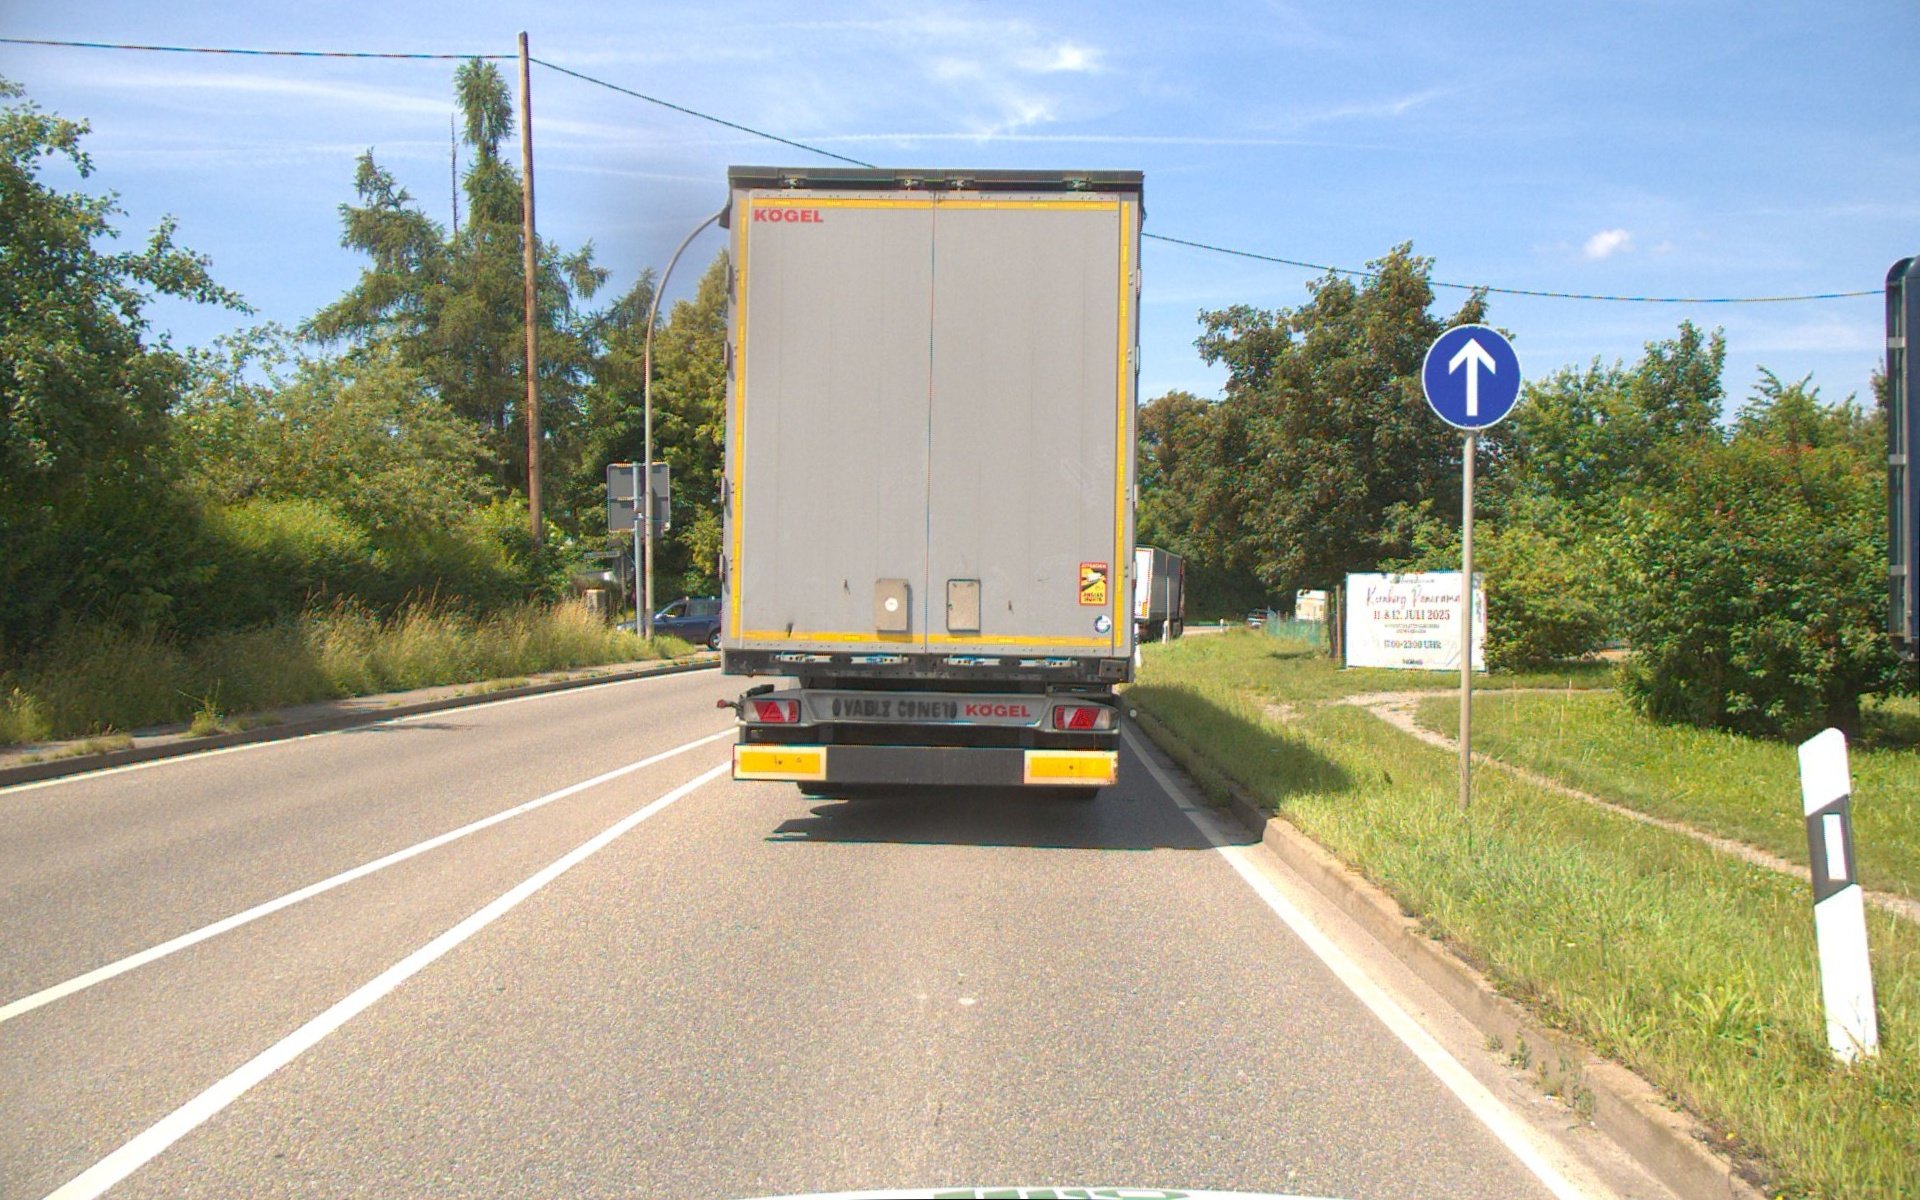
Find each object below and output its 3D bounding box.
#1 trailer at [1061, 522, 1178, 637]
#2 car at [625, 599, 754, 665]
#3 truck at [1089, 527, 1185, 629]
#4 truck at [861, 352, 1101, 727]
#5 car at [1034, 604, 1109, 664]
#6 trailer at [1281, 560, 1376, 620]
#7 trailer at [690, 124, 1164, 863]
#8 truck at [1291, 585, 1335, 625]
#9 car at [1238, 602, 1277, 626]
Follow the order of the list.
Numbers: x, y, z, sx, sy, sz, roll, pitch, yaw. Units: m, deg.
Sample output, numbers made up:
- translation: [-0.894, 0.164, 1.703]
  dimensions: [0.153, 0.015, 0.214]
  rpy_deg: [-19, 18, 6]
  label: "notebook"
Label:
- translation: [7.215, -0.812, 72.627]
  dimensions: [3.808, 4.600, 12.724]
  rpy_deg: [0, 0, 12]
  label: "trailer"
- translation: [-8.830, 1.013, 53.848]
  dimensions: [4.001, 2.049, 1.992]
  rpy_deg: [0, 0, -15]
  label: "car"
- translation: [8.579, -0.993, 79.366]
  dimensions: [3.853, 4.655, 7.158]
  rpy_deg: [0, 0, 12]
  label: "truck"
- translation: [0.388, -0.728, 21.867]
  dimensions: [2.688, 4.238, 6.145]
  rpy_deg: [1, 1, 3]
  label: "truck"
- translation: [3.211, 0.932, 46.981]
  dimensions: [1.951, 1.556, 4.003]
  rpy_deg: [0, 1, 6]
  label: "car"
- translation: [31.025, -0.833, 138.297]
  dimensions: [5.074, 4.709, 15.892]
  rpy_deg: [1, 1, 22]
  label: "trailer"
- translation: [0.090, -0.698, 15.690]
  dimensions: [2.728, 4.278, 12.116]
  rpy_deg: [1, 1, 3]
  label: "trailer"
- translation: [26.006, 0.353, 121.826]
  dimensions: [2.371, 2.888, 5.412]
  rpy_deg: [0, 1, 21]
  label: "truck"
- translation: [19.839, 0.922, 110.207]
  dimensions: [1.803, 1.512, 4.000]
  rpy_deg: [0, 1, 21]
  label: "car"
